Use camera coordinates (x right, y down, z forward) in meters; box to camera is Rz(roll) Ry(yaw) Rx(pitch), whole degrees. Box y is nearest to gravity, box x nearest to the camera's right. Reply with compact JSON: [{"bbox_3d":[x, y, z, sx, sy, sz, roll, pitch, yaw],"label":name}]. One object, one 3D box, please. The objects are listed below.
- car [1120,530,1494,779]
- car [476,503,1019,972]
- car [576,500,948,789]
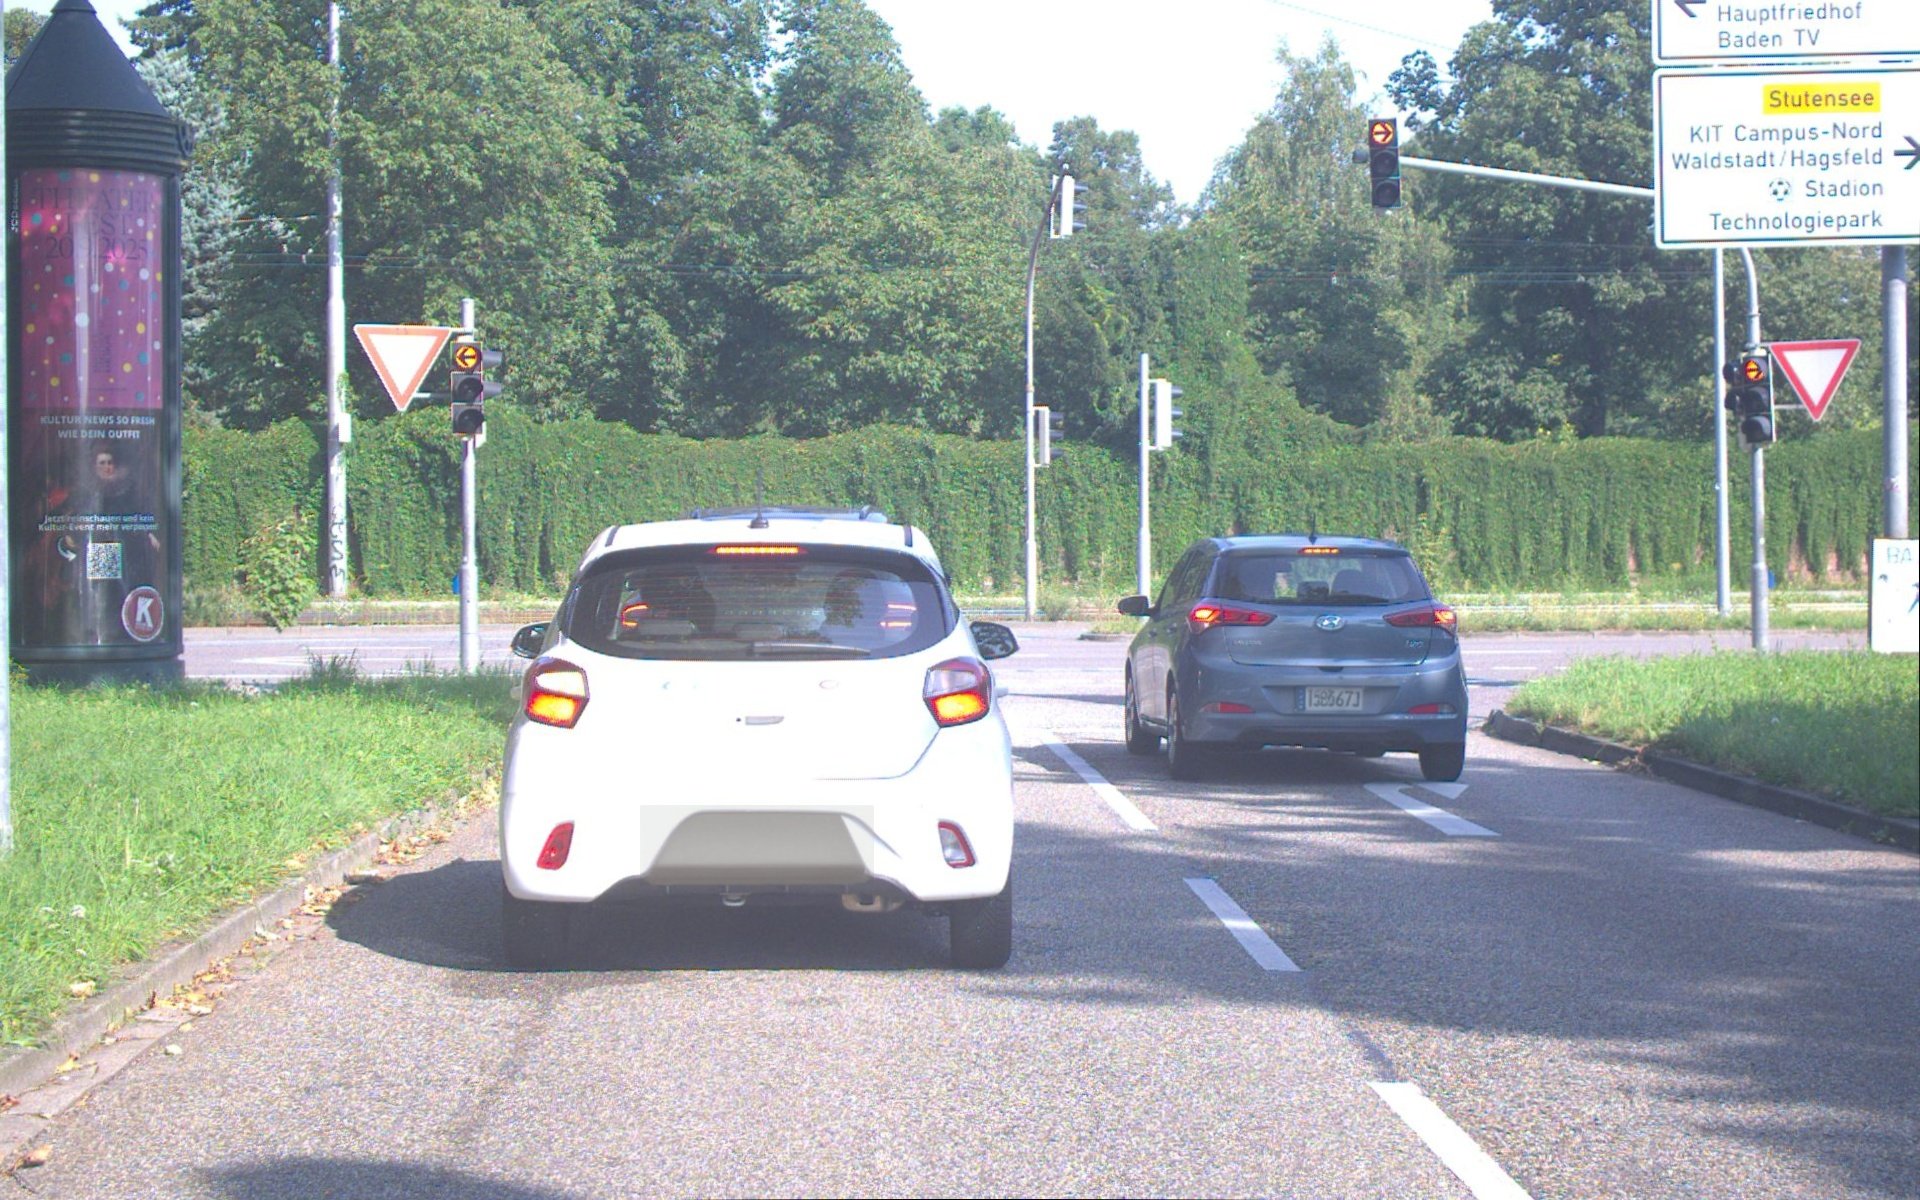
[{"bbox_3d":[2.062,0.271,21.475,1.797,1.396,4.001,0,1,-2],"label":"car"},{"bbox_3d":[-0.677,0.388,12.748,1.687,1.457,4.000,0,1,0],"label":"car"},{"bbox_3d":[-1.018,0.185,19.400,1.687,1.457,3.849,0,1,3],"label":"car"}]
